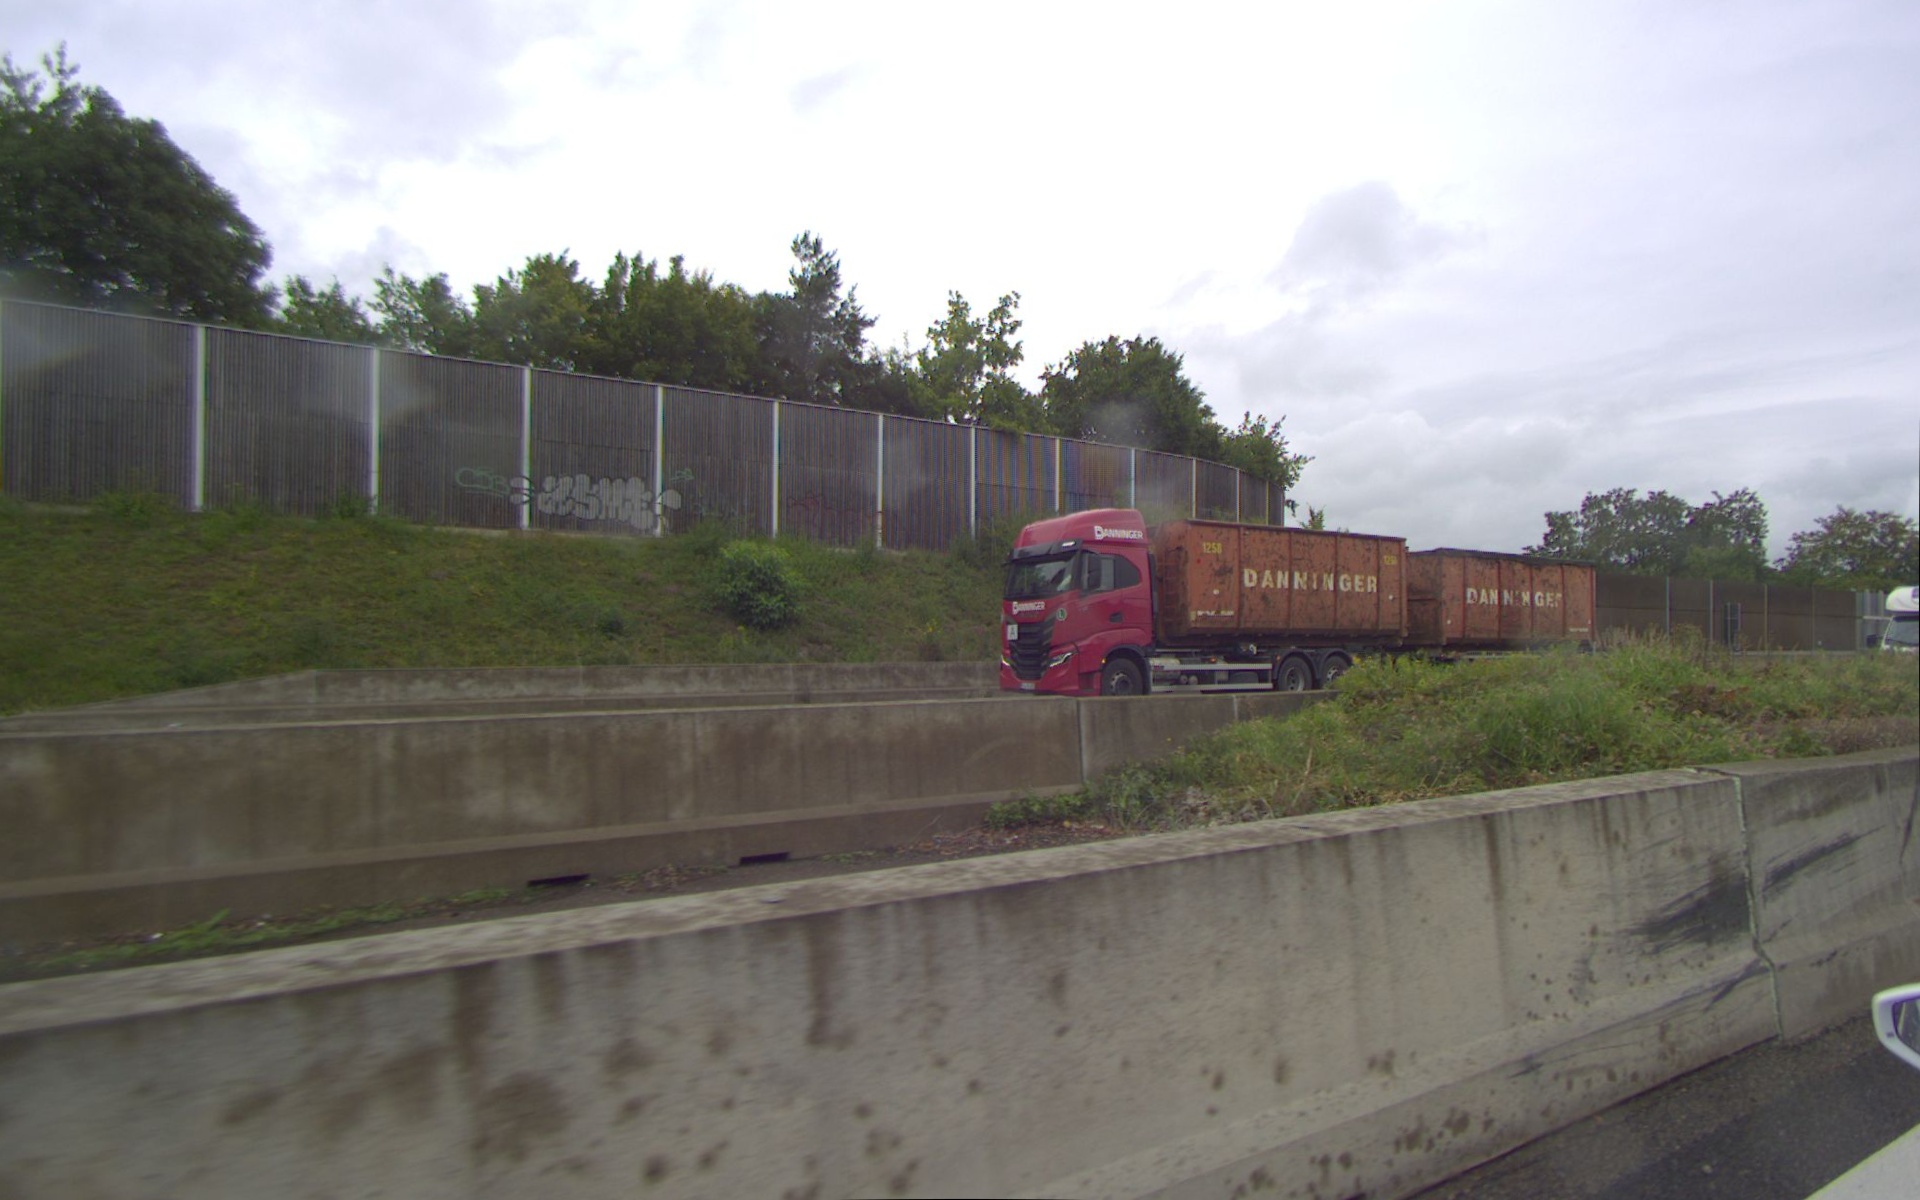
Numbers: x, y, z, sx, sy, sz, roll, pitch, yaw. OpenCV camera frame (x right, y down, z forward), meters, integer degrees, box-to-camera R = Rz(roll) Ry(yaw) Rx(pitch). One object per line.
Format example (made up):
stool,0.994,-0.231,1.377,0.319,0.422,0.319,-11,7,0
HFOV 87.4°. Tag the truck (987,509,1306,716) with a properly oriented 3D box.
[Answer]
truck,3.992,0.318,21.060,6.406,3.756,2.683,2,-1,-31

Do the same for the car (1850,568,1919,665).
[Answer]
car,25.164,0.485,24.925,7.633,2.222,2.362,2,-1,-30

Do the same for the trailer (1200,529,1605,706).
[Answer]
trailer,11.676,0.518,25.584,12.415,3.732,2.714,1,-1,-30
